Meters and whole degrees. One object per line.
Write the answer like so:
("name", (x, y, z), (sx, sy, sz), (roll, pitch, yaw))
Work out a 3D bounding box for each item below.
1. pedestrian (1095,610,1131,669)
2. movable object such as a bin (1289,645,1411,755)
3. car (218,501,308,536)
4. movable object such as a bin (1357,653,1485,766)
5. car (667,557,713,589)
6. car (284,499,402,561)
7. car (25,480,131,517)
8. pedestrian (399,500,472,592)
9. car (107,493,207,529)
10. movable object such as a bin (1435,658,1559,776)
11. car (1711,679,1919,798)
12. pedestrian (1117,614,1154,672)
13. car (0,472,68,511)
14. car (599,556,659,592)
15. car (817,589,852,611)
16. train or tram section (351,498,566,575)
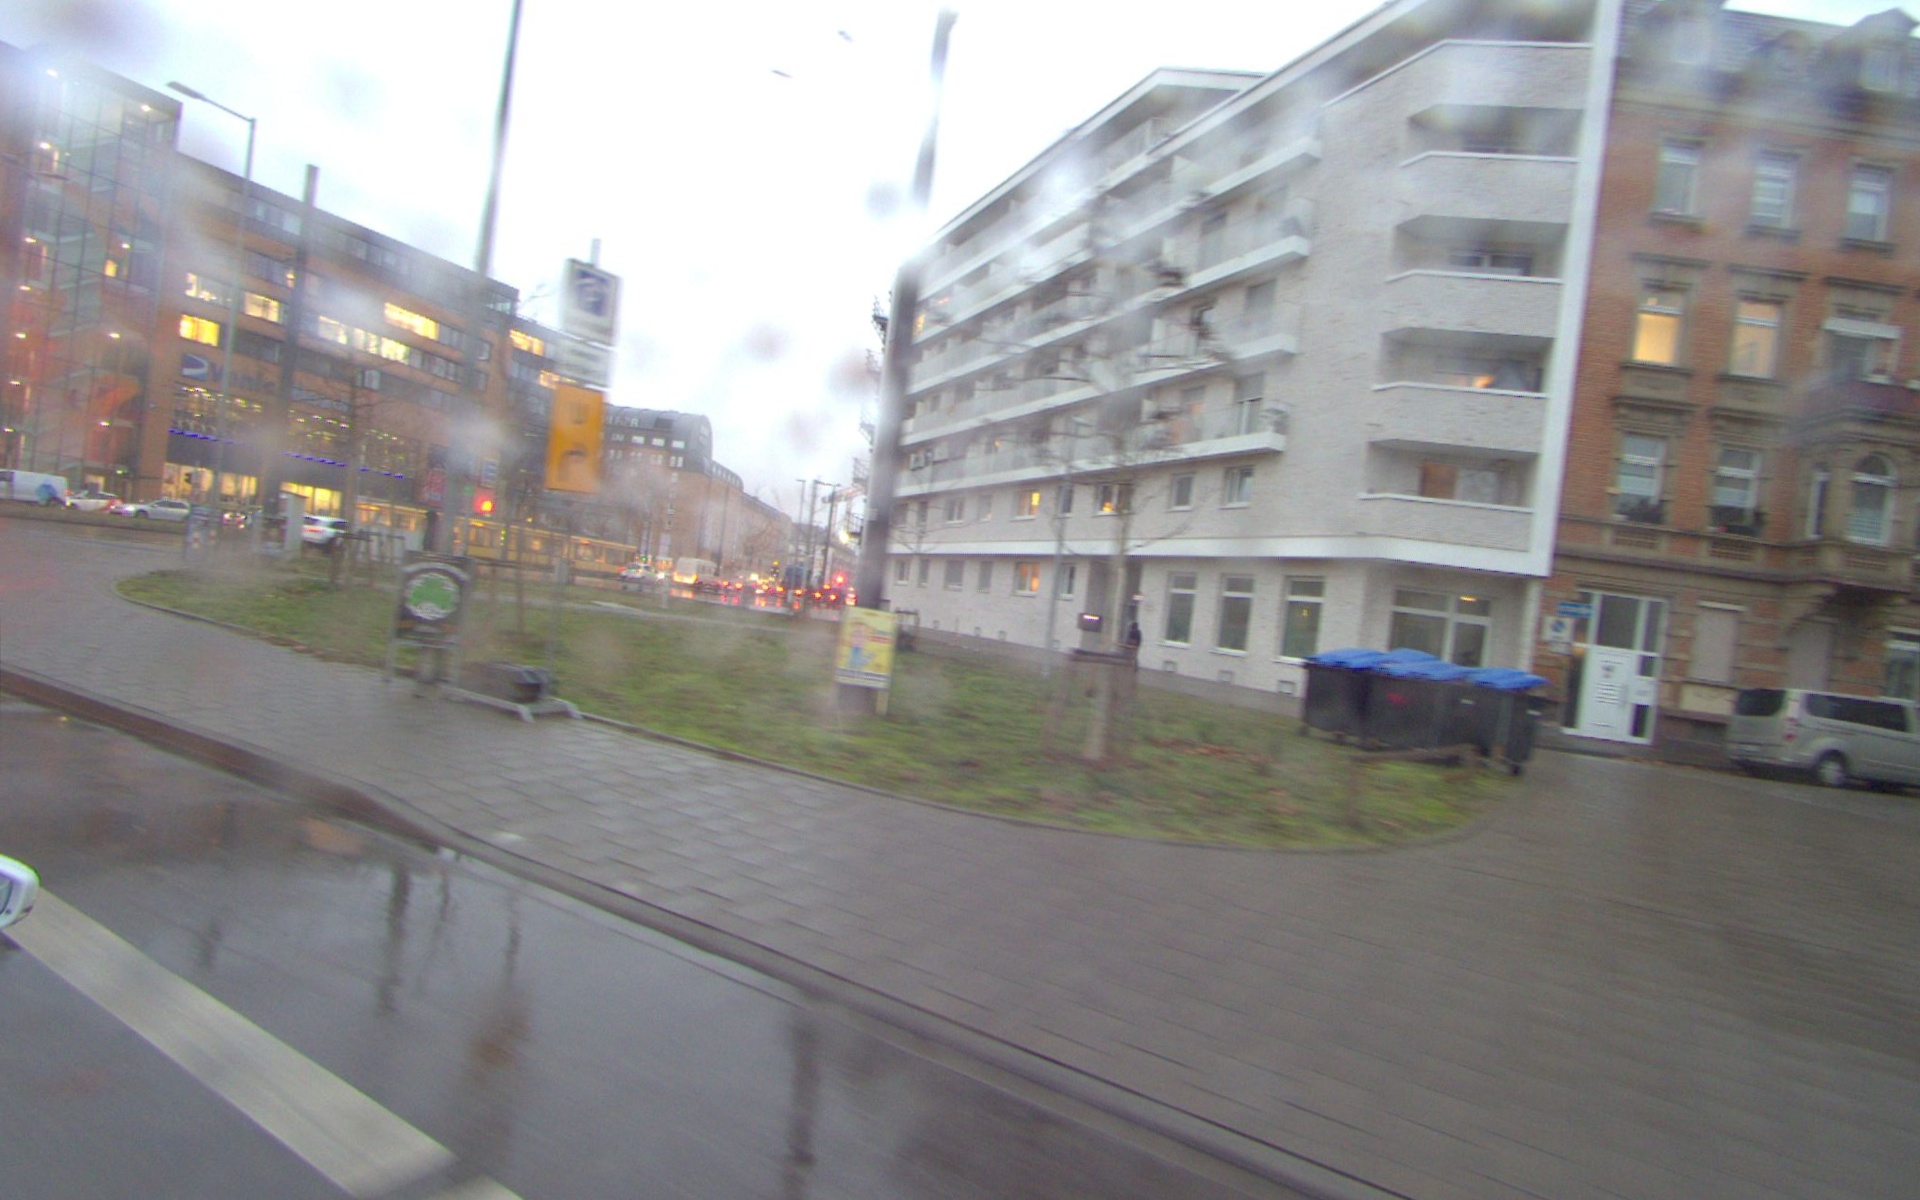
("pedestrian", (4.798, 1.222, 31.524), (0.670, 1.733, 0.601), (9, -1, -30))
("movable object such as a bin", (6.158, 1.560, 15.932), (1.017, 1.513, 1.322), (7, -1, -23))
("car", (-45.442, -5.306, 65.668), (1.767, 1.553, 4.445), (7, 0, 23))
("movable object such as a bin", (6.734, 1.584, 14.760), (1.003, 1.434, 1.217), (6, 1, -22))
("car", (-22.789, -2.275, 85.196), (1.963, 2.036, 4.955), (9, -2, 5))
("car", (-28.795, -3.238, 47.165), (1.962, 2.036, 4.376), (8, -2, 14))
("car", (-51.594, -5.913, 58.937), (1.767, 1.406, 4.228), (7, 0, 23))
("pedestrian", (-12.413, -1.274, 23.814), (1.165, 1.946, 0.889), (10, -2, -37))
("car", (-47.553, -5.258, 59.670), (1.767, 1.406, 4.228), (7, 0, 23))
("movable object such as a bin", (7.893, 1.706, 14.837), (1.021, 1.507, 1.038), (9, -2, -14))
("car", (19.354, 3.063, 21.649), (4.661, 1.940, 2.002), (9, -2, 2))
("pedestrian", (5.577, 1.362, 31.952), (0.671, 1.733, 0.624), (9, -1, -30))
("car", (-50.055, -5.834, 52.765), (1.767, 1.614, 4.432), (7, 0, 23))
("car", (-24.903, -1.965, 75.836), (1.963, 2.036, 4.004), (8, -2, 20))
("car", (-12.609, 0.010, 100.975), (1.962, 1.600, 4.094), (8, -2, 14))
("train or tram section", (-33.374, -4.016, 68.586), (2.292, 3.300, 16.667), (7, -1, 15))
